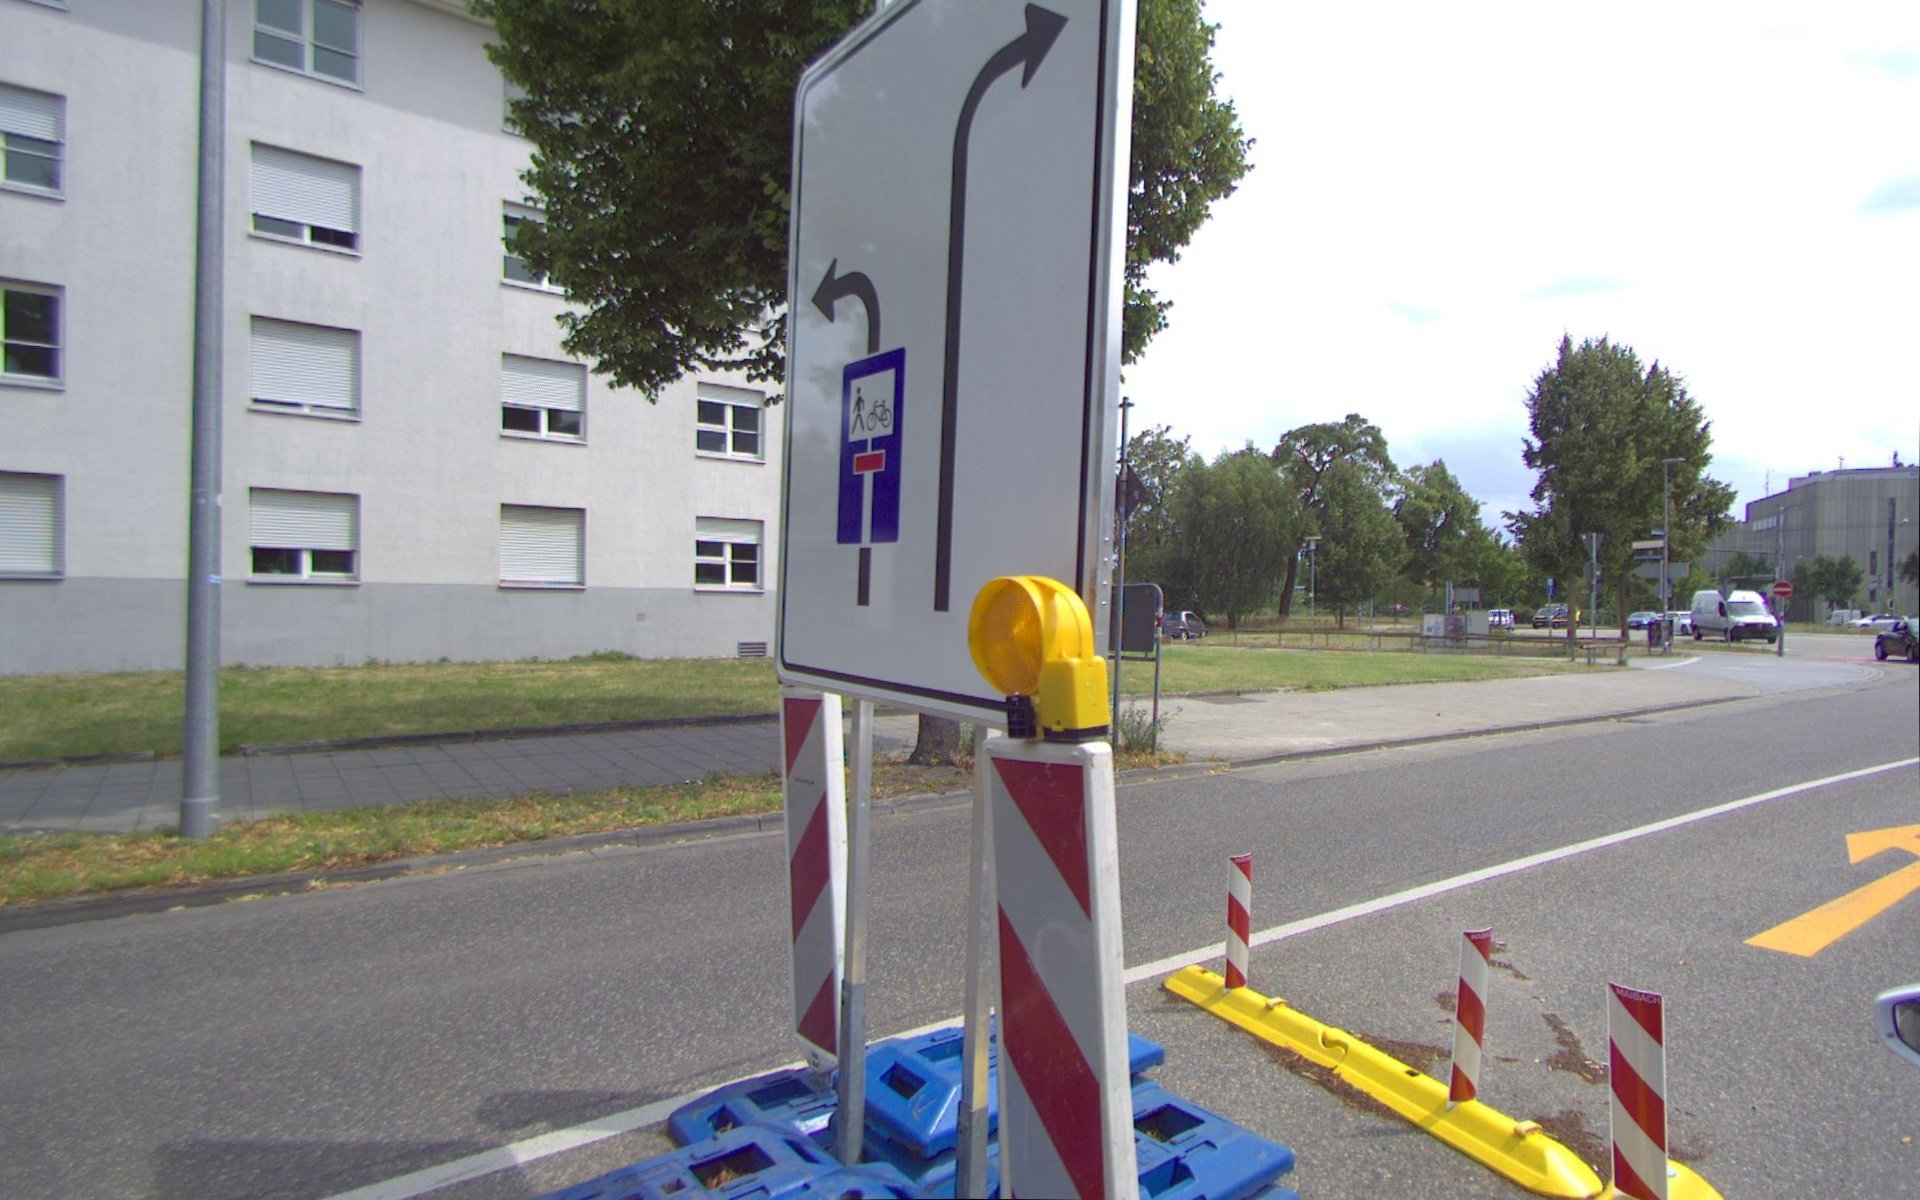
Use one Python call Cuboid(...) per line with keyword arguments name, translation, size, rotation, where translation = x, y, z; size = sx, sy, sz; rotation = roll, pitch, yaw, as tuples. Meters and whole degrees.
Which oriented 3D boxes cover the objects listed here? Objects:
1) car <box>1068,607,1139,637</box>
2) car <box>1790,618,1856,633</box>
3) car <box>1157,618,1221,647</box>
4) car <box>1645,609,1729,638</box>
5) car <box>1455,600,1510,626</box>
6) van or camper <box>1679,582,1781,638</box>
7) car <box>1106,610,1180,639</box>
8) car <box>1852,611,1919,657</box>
Cuboid(name="car", translation=(8.454, 1.277, 59.162), size=(4.102, 1.612, 1.795), rotation=(0, -1, -38))
Cuboid(name="car", translation=(72.889, 2.165, 84.893), size=(3.923, 1.208, 1.685), rotation=(-1, -1, 23))
Cuboid(name="car", translation=(12.731, 1.780, 55.824), size=(3.604, 1.497, 1.646), rotation=(0, -1, -40))
Cuboid(name="car", translation=(43.396, 1.350, 60.099), size=(1.827, 1.600, 5.046), rotation=(0, 0, 7))
Cuboid(name="car", translation=(41.133, 1.046, 79.161), size=(1.962, 2.040, 3.997), rotation=(-1, -1, -5))
Cuboid(name="van or camper", translation=(40.123, 0.533, 52.552), size=(2.114, 2.761, 6.279), rotation=(-1, -1, 17))
Cuboid(name="car", translation=(10.398, 1.354, 57.023), size=(4.096, 1.529, 1.798), rotation=(-1, -1, -34))
Cuboid(name="car", translation=(32.947, 1.140, 34.628), size=(1.742, 1.498, 4.257), rotation=(0, 0, 19))
